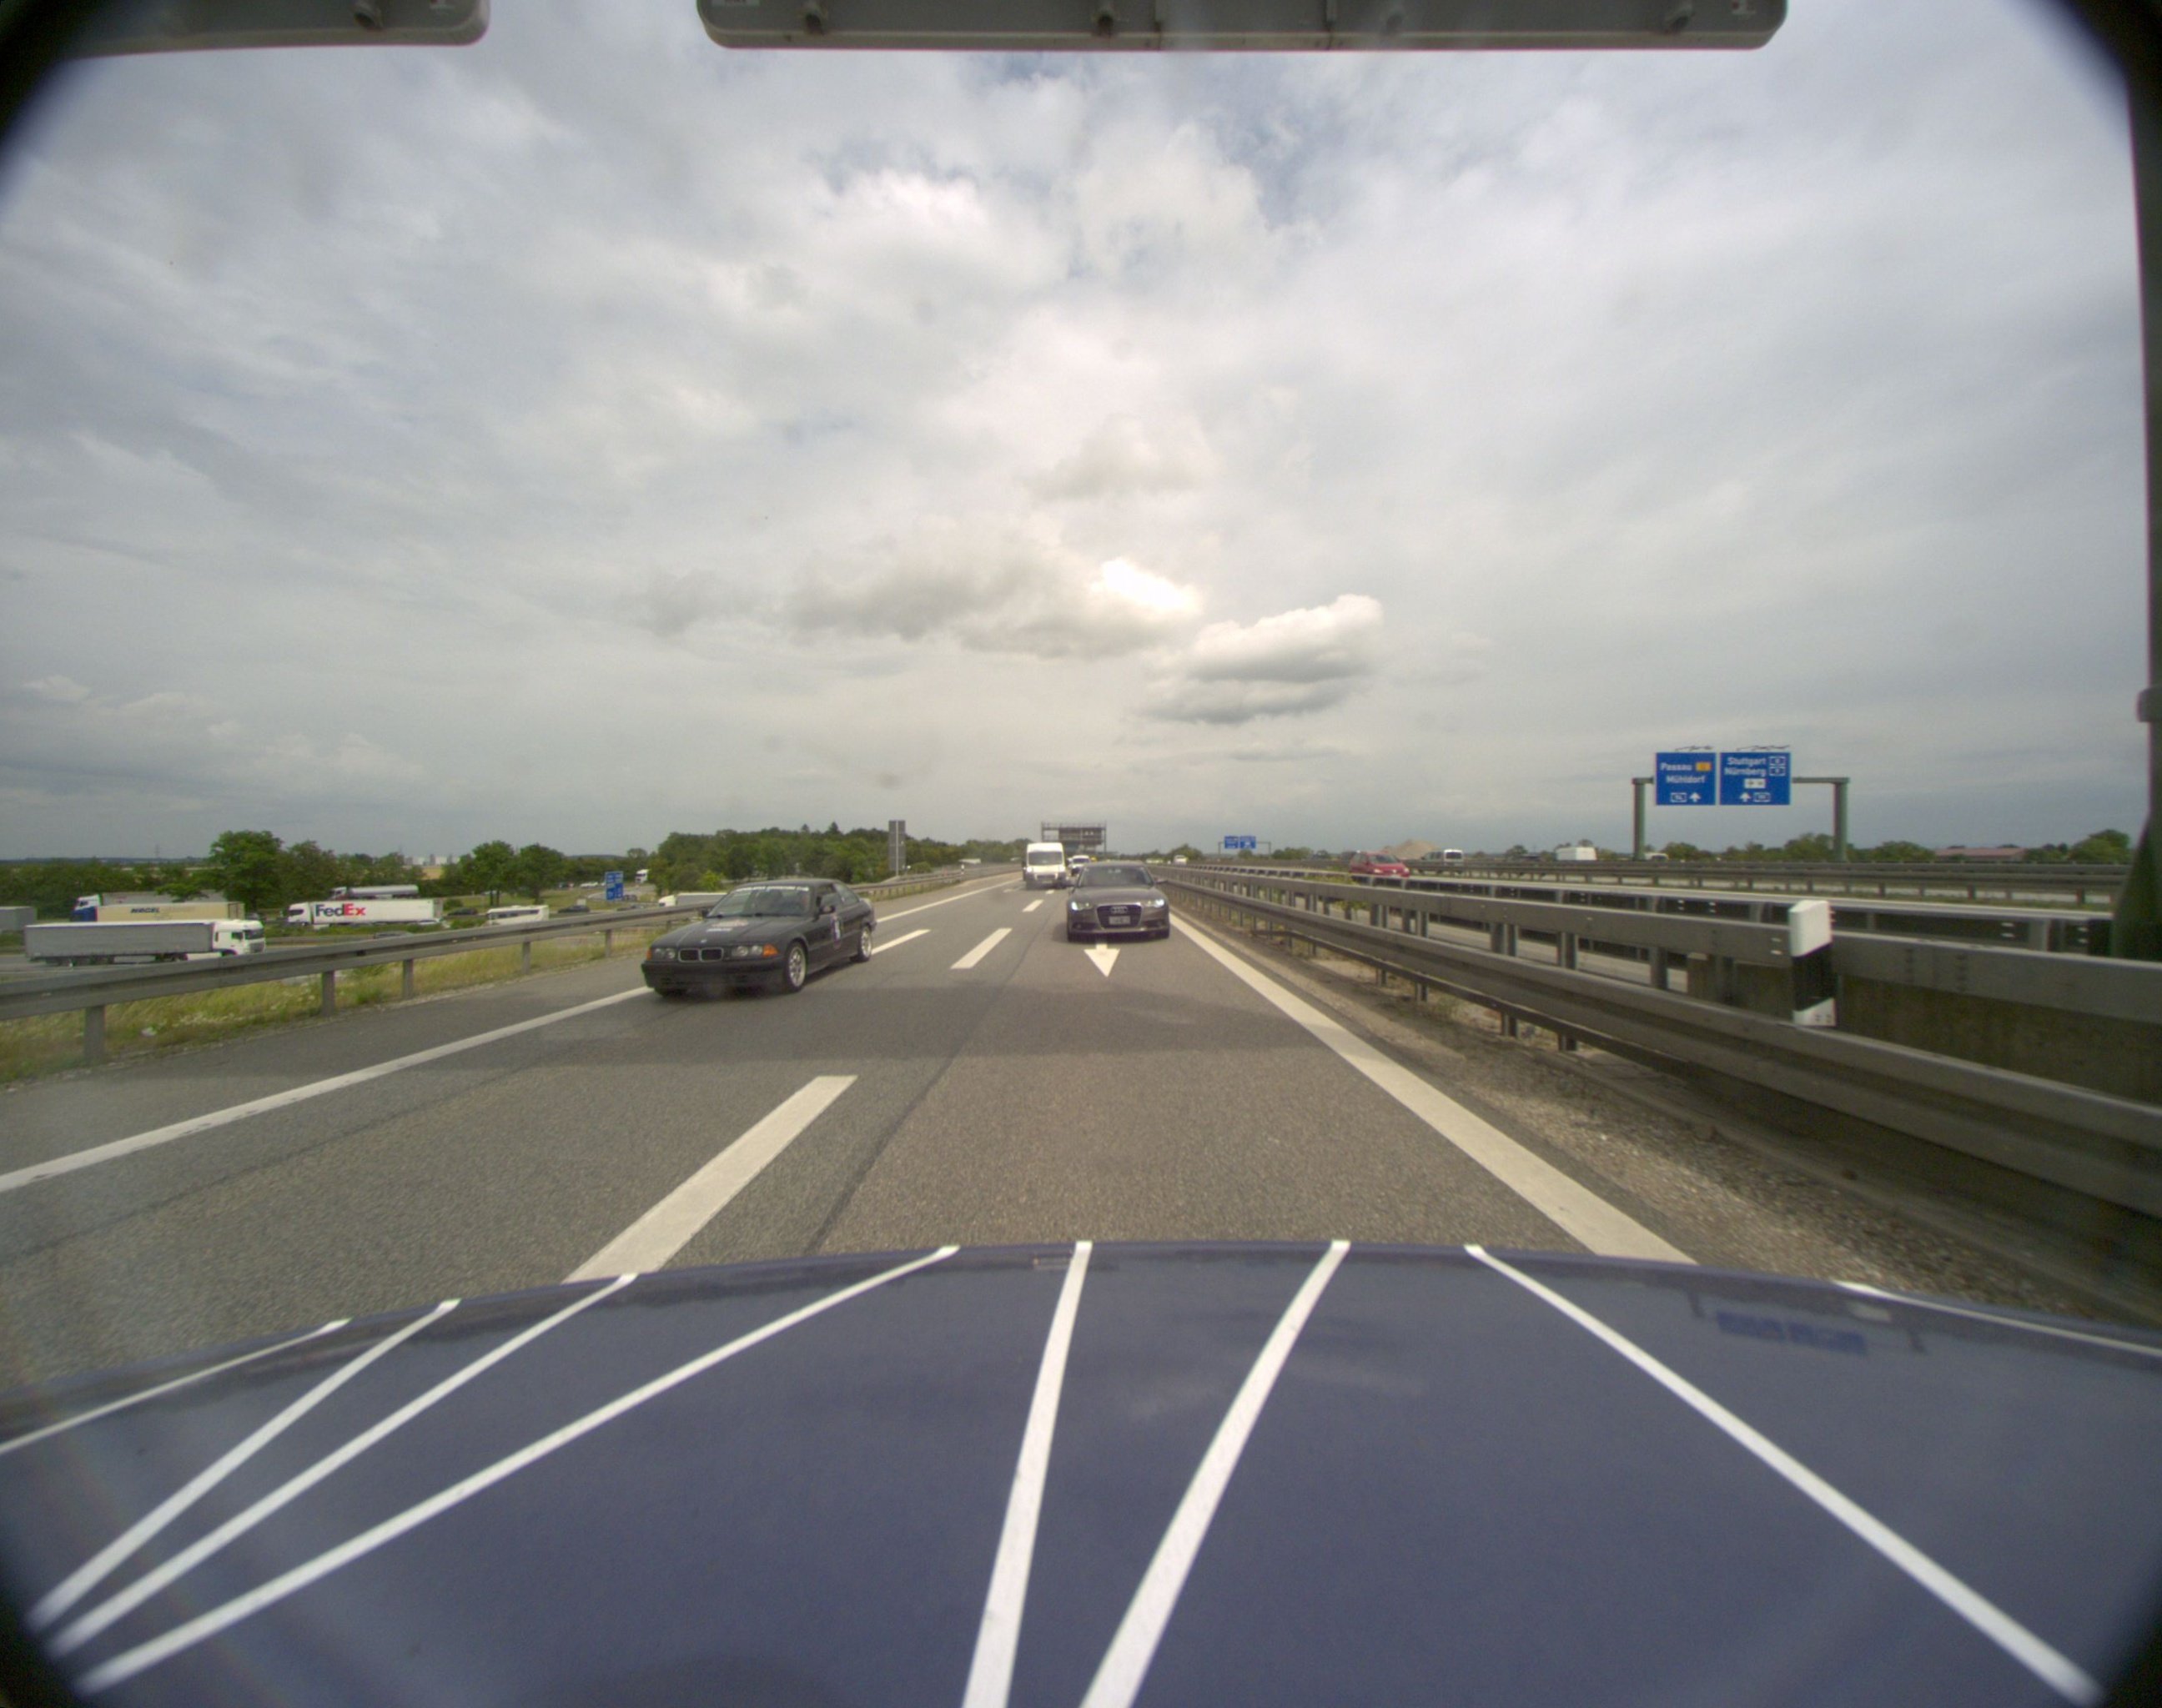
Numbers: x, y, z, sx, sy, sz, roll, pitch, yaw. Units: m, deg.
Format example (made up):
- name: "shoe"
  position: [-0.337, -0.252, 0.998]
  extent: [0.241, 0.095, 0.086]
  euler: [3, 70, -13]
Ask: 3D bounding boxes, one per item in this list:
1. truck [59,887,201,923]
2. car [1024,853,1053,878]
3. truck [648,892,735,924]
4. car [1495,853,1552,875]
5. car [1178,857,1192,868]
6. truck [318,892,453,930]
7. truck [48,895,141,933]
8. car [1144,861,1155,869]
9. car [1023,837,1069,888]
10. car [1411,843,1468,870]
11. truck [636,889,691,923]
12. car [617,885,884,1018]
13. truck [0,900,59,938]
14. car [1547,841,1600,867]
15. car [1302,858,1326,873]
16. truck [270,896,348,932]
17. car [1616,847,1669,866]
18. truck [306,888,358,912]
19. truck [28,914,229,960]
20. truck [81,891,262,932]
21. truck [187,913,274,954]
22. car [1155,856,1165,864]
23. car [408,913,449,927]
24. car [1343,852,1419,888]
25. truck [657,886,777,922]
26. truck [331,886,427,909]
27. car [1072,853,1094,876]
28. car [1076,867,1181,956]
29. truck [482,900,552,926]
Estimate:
- name: "truck"
  position: [-162.260, 8.542, 130.088]
  extent: [3.851, 5.183, 14.888]
  euler: [-2, -1, 40]
- name: "car"
  position: [-3.194, 0.862, 57.686]
  extent: [1.929, 1.761, 4.000]
  euler: [-2, -1, -1]
- name: "truck"
  position: [-56.968, 7.848, 111.385]
  extent: [10.790, 4.047, 3.237]
  euler: [-2, 0, -17]
- name: "car"
  position: [31.233, 0.694, 53.784]
  extent: [1.658, 1.425, 4.000]
  euler: [-3, 0, 1]
- name: "car"
  position: [20.312, 1.719, 148.430]
  extent: [1.998, 2.001, 4.466]
  euler: [-2, -1, 1]
- name: "truck"
  position: [-98.247, 7.971, 107.718]
  extent: [13.797, 4.527, 4.004]
  euler: [-2, 0, -14]
- name: "truck"
  position: [-129.959, 7.884, 100.213]
  extent: [6.296, 4.484, 3.928]
  euler: [-2, 0, -14]
- name: "car"
  position: [15.329, 2.496, 169.300]
  extent: [1.999, 1.739, 4.000]
  euler: [-2, -1, -1]
- name: "car"
  position: [-1.807, 0.444, 40.749]
  extent: [2.119, 2.439, 6.152]
  euler: [-2, -1, 0]
- name: "car"
  position: [26.860, 0.189, 57.090]
  extent: [1.915, 1.783, 4.823]
  euler: [-5, 0, 0]
- name: "truck"
  position: [-64.060, 7.878, 116.673]
  extent: [6.295, 4.647, 3.928]
  euler: [-2, 1, -11]
- name: "car"
  position: [-4.163, 1.149, 10.452]
  extent: [1.708, 1.273, 4.366]
  euler: [-2, -1, 0]
- name: "truck"
  position: [-141.764, 8.487, 96.611]
  extent: [14.890, 4.527, 4.004]
  euler: [-2, 0, -13]
- name: "car"
  position: [45.830, 0.002, 70.843]
  extent: [1.998, 2.292, 4.491]
  euler: [-2, -1, 1]
- name: "car"
  position: [31.592, 1.543, 102.924]
  extent: [1.911, 1.805, 4.223]
  euler: [-3, -1, 1]
- name: "truck"
  position: [-107.062, 8.245, 105.496]
  extent: [6.296, 4.484, 3.928]
  euler: [-2, 0, -13]
- name: "car"
  position: [49.716, 0.189, 67.362]
  extent: [1.670, 1.487, 3.910]
  euler: [-5, 0, 1]
- name: "truck"
  position: [-148.609, 9.111, 150.861]
  extent: [3.155, 4.162, 6.452]
  euler: [-2, 0, 22]
- name: "truck"
  position: [-92.069, 7.956, 73.763]
  extent: [13.148, 3.657, 2.494]
  euler: [-1, -1, -16]
- name: "truck"
  position: [-121.835, 7.604, 102.195]
  extent: [16.372, 4.527, 4.004]
  euler: [-2, 0, -14]
- name: "truck"
  position: [-84.793, 7.888, 75.840]
  extent: [5.169, 3.657, 2.494]
  euler: [-1, -1, -16]
- name: "car"
  position: [19.382, 1.414, 186.560]
  extent: [1.999, 1.870, 4.000]
  euler: [-2, -1, -1]
- name: "car"
  position: [-90.228, 9.113, 105.096]
  extent: [4.002, 1.546, 1.671]
  euler: [-1, 0, -14]
- name: "car"
  position: [14.215, 0.739, 36.251]
  extent: [1.824, 1.536, 4.355]
  euler: [-2, -1, -1]
- name: "truck"
  position: [-56.363, 7.672, 118.281]
  extent: [16.179, 4.672, 3.989]
  euler: [-2, 1, -13]
- name: "truck"
  position: [-145.762, 8.990, 158.254]
  extent: [3.079, 4.065, 14.755]
  euler: [-2, -1, 21]
- name: "car"
  position: [0.203, 0.942, 67.483]
  extent: [1.846, 1.870, 4.289]
  euler: [-2, -1, 1]
- name: "car"
  position: [0.834, 1.018, 14.915]
  extent: [1.747, 1.380, 4.000]
  euler: [-2, 0, 1]
- name: "truck"
  position: [-79.635, 8.313, 107.437]
  extent: [7.570, 3.178, 2.230]
  euler: [-2, 0, -13]
